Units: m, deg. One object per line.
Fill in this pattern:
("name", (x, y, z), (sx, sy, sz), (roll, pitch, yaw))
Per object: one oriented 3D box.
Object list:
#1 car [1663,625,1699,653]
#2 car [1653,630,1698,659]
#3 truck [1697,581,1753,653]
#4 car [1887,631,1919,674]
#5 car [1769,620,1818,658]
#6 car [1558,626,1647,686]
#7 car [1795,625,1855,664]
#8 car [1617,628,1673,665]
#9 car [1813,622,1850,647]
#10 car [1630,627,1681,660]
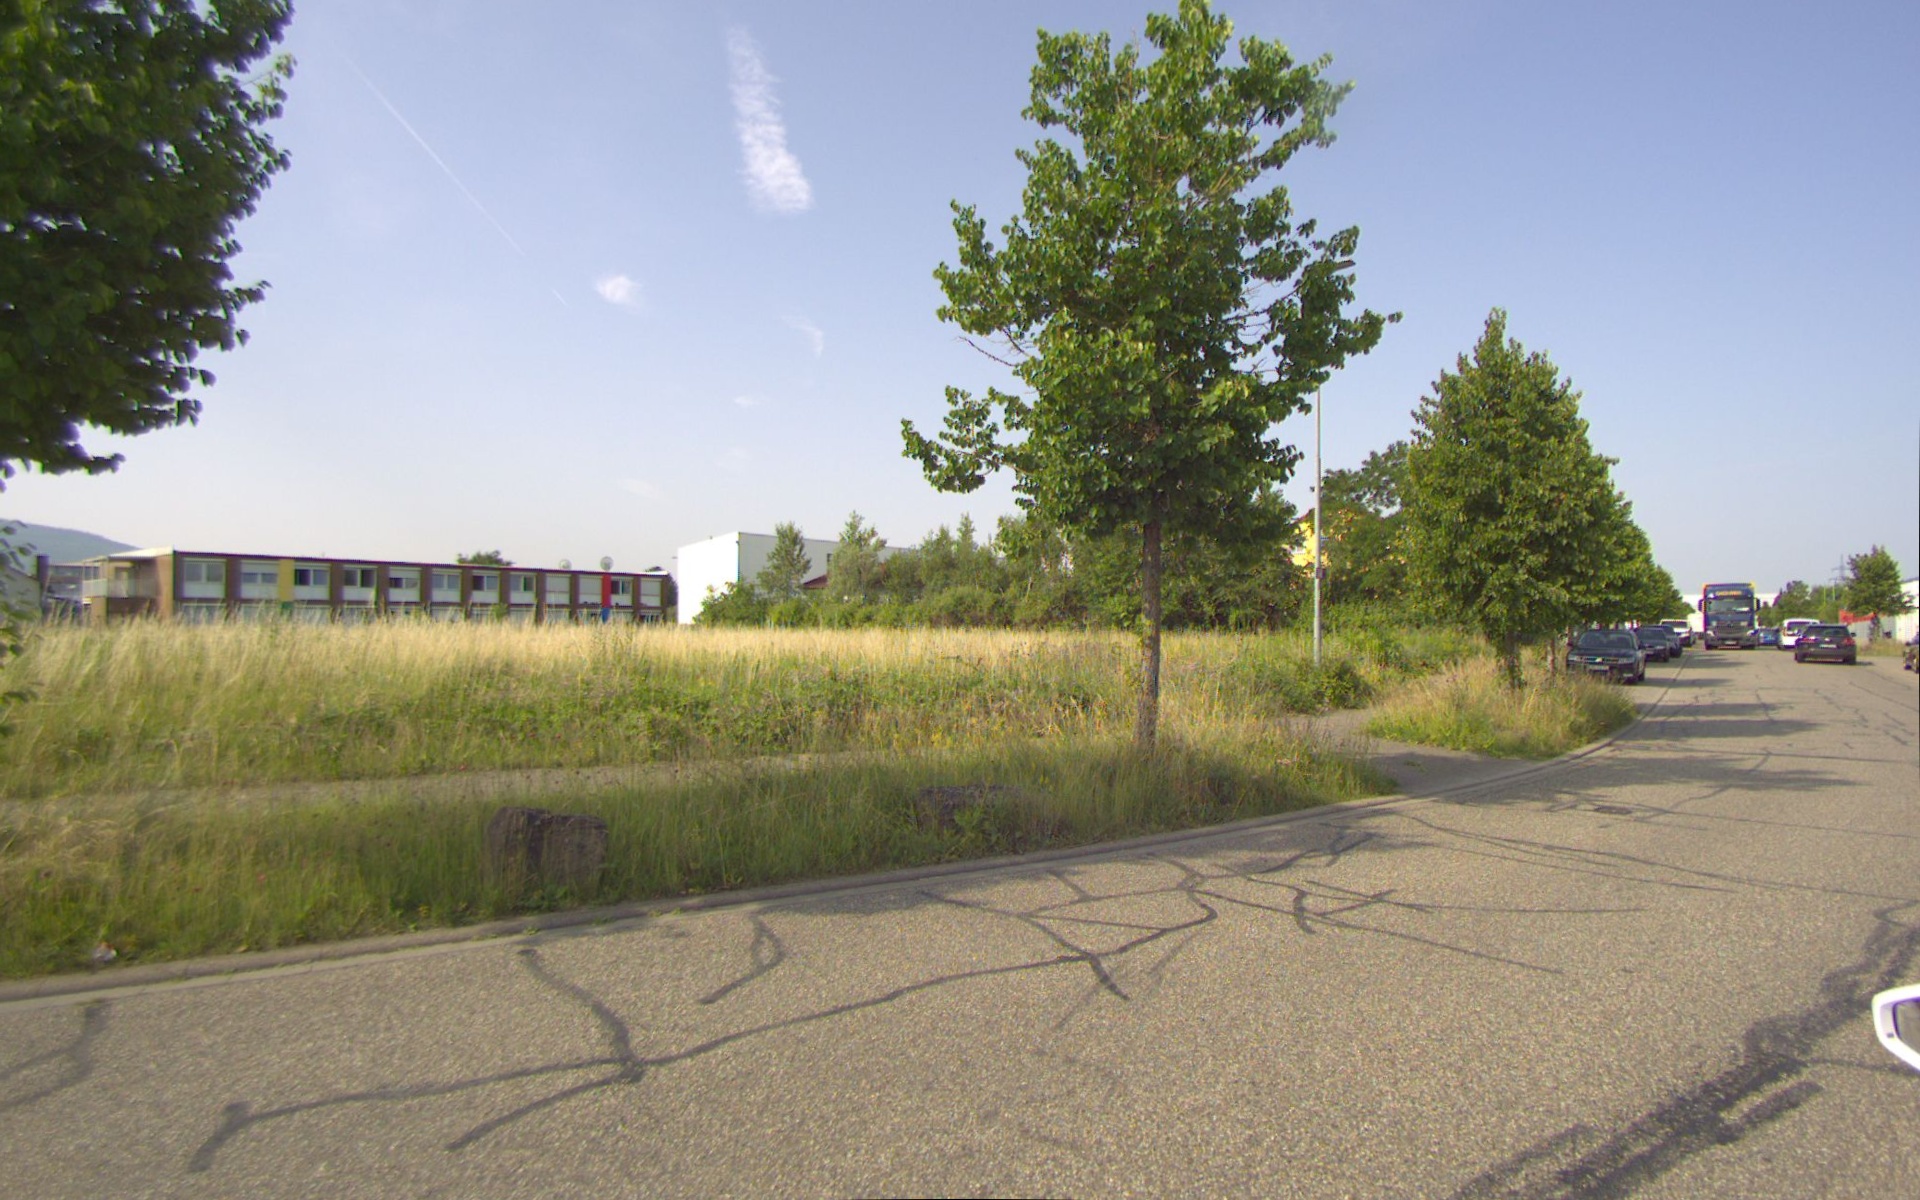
("car", (49.064, 2.621, 68.318), (1.810, 1.786, 4.032), (1, 0, 38))
("car", (39.743, 2.434, 55.757), (1.810, 1.516, 4.032), (1, 0, 38))
("truck", (48.451, 1.159, 63.732), (2.467, 4.200, 10.340), (-3, -3, 37))
("car", (35.474, 1.890, 36.784), (1.693, 1.474, 4.172), (-3, -3, 36))
("car", (48.761, 2.246, 58.780), (2.096, 2.138, 4.603), (-1, -2, 40))
("car", (19.925, 1.674, 31.077), (1.879, 1.647, 4.431), (1, 0, 38))
("car", (37.225, 1.898, 43.300), (1.858, 1.607, 4.095), (-1, -2, 39))
("car", (30.775, 2.055, 45.090), (1.810, 1.516, 4.032), (1, 0, 38))
("car", (63.430, 2.502, 73.136), (1.693, 1.702, 3.935), (0, -1, 36))
("car", (34.711, 2.115, 50.092), (1.810, 1.516, 4.032), (1, 0, 38))
